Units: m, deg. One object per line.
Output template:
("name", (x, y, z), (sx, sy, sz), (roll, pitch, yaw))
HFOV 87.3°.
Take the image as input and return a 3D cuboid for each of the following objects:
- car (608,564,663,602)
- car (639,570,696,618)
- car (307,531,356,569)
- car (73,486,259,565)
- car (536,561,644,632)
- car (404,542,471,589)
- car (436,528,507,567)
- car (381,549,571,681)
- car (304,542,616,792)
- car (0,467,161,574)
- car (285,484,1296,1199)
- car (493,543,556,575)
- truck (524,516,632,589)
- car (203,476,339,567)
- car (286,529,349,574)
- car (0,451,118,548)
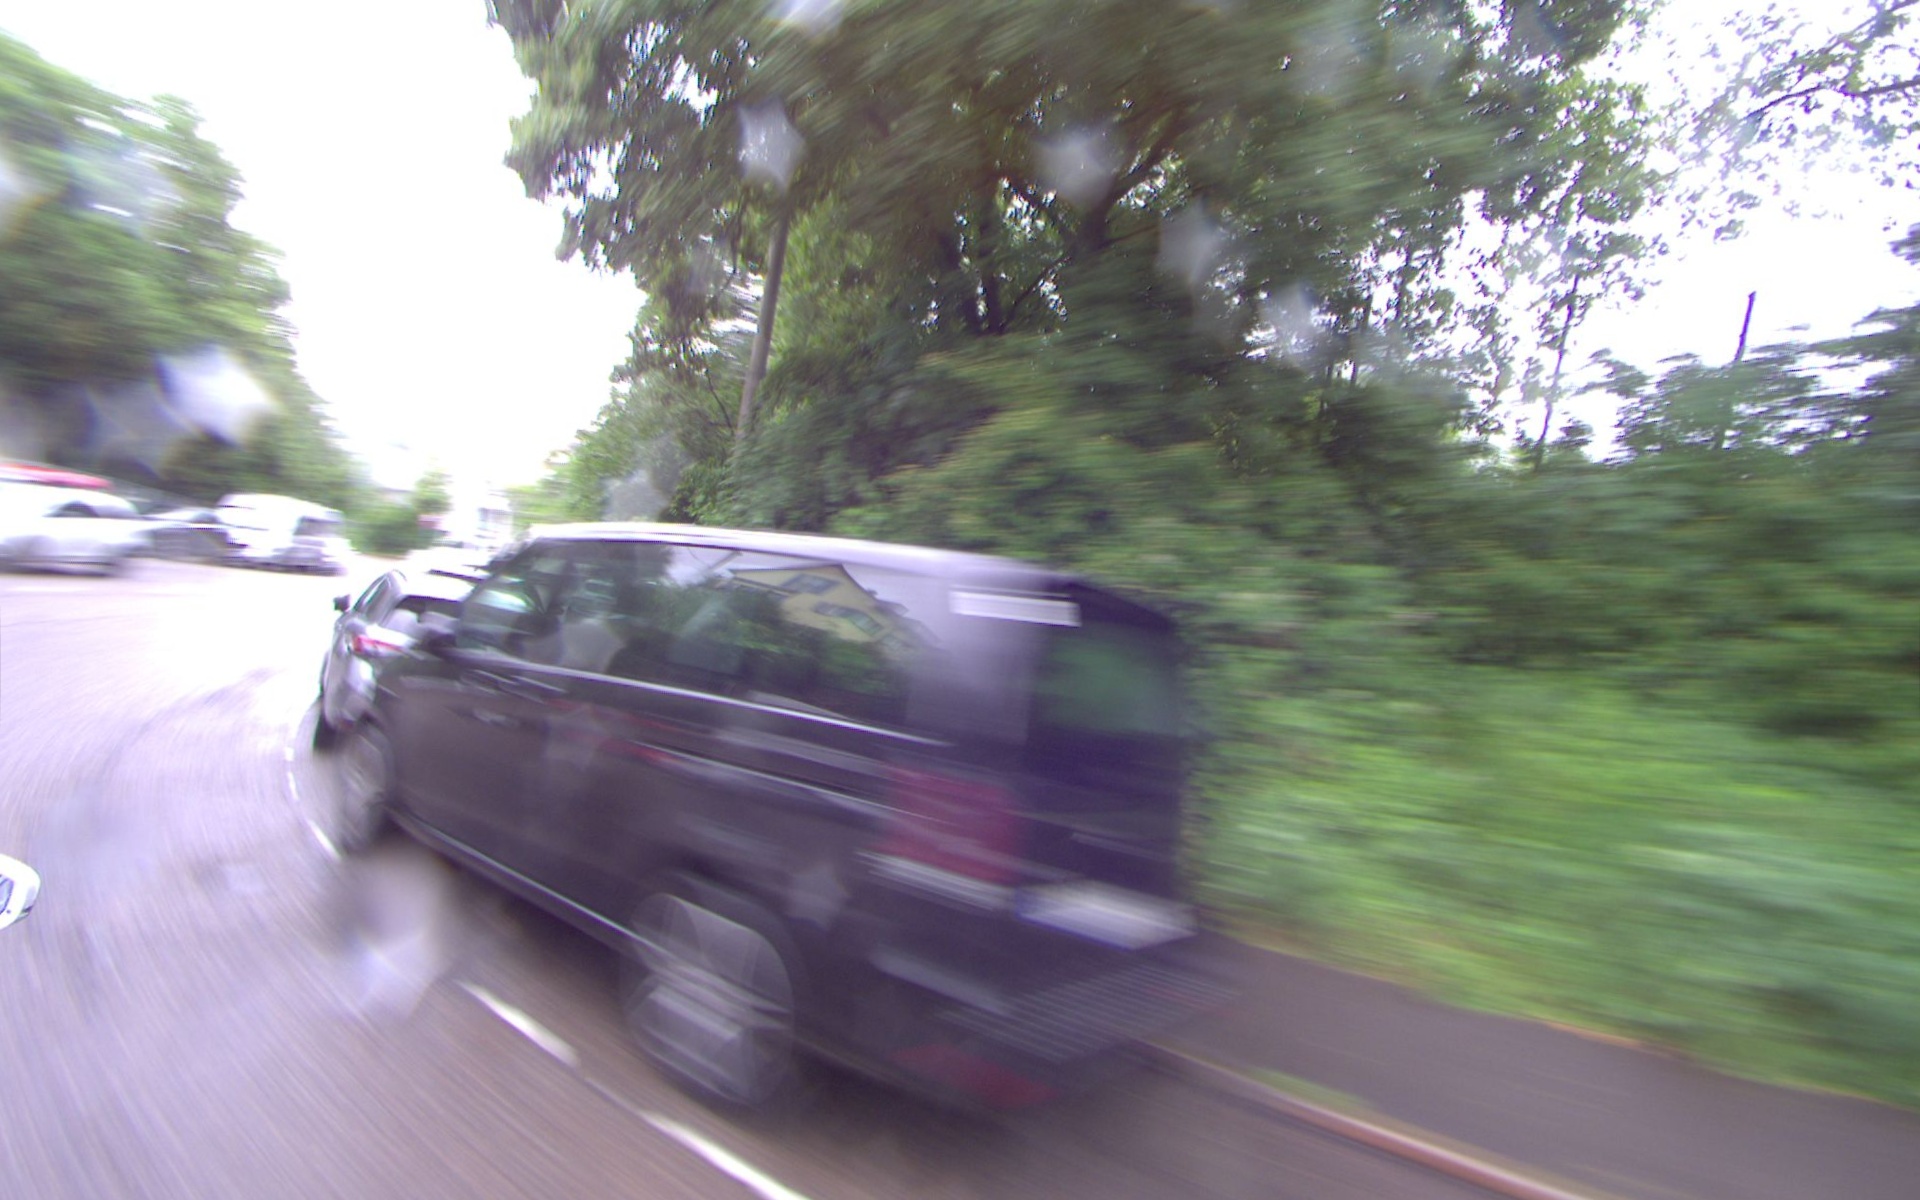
("car", (-15.784, -0.853, 48.770), (1.706, 1.463, 4.093), (6, 1, -29))
("car", (-10.716, -0.269, 37.080), (1.734, 1.417, 4.082), (8, 0, -15))
("car", (-28.872, -2.309, 46.289), (1.738, 1.475, 4.014), (5, 1, -31))
("car", (-22.189, -2.012, 28.384), (1.966, 1.638, 4.391), (9, -1, -8))
("car", (-9.326, -0.096, 25.636), (1.569, 1.405, 3.816), (11, 0, -7))
("car", (-20.711, -1.374, 40.032), (1.849, 1.535, 4.459), (7, 0, -23))
("car", (-32.347, -3.494, 66.562), (4.613, 2.038, 1.879), (7, 0, 31))
("car", (-7.275, 0.186, 15.507), (1.608, 1.505, 3.735), (11, -1, -13))
("car", (-4.946, 0.450, 9.589), (1.892, 1.504, 4.831), (12, -2, -32))
("car", (-15.462, -1.350, 16.647), (1.581, 1.512, 4.026), (10, -1, -10))
("car", (-1.261, 0.652, 4.955), (4.965, 1.907, 1.994), (7, -3, 41))
("car", (-27.251, -2.548, 62.934), (4.211, 1.577, 1.716), (7, 3, 37))
("truck", (-22.050, -2.809, 57.791), (2.992, 3.621, 8.240), (3, 2, -41))
("car", (-23.509, -2.564, 34.648), (2.051, 2.581, 6.319), (7, 0, -19))
("car", (-26.264, -1.952, 41.223), (1.788, 1.602, 3.997), (5, -1, -29))
("car", (-21.483, -2.348, 22.723), (1.727, 1.787, 4.132), (8, -2, -9))
